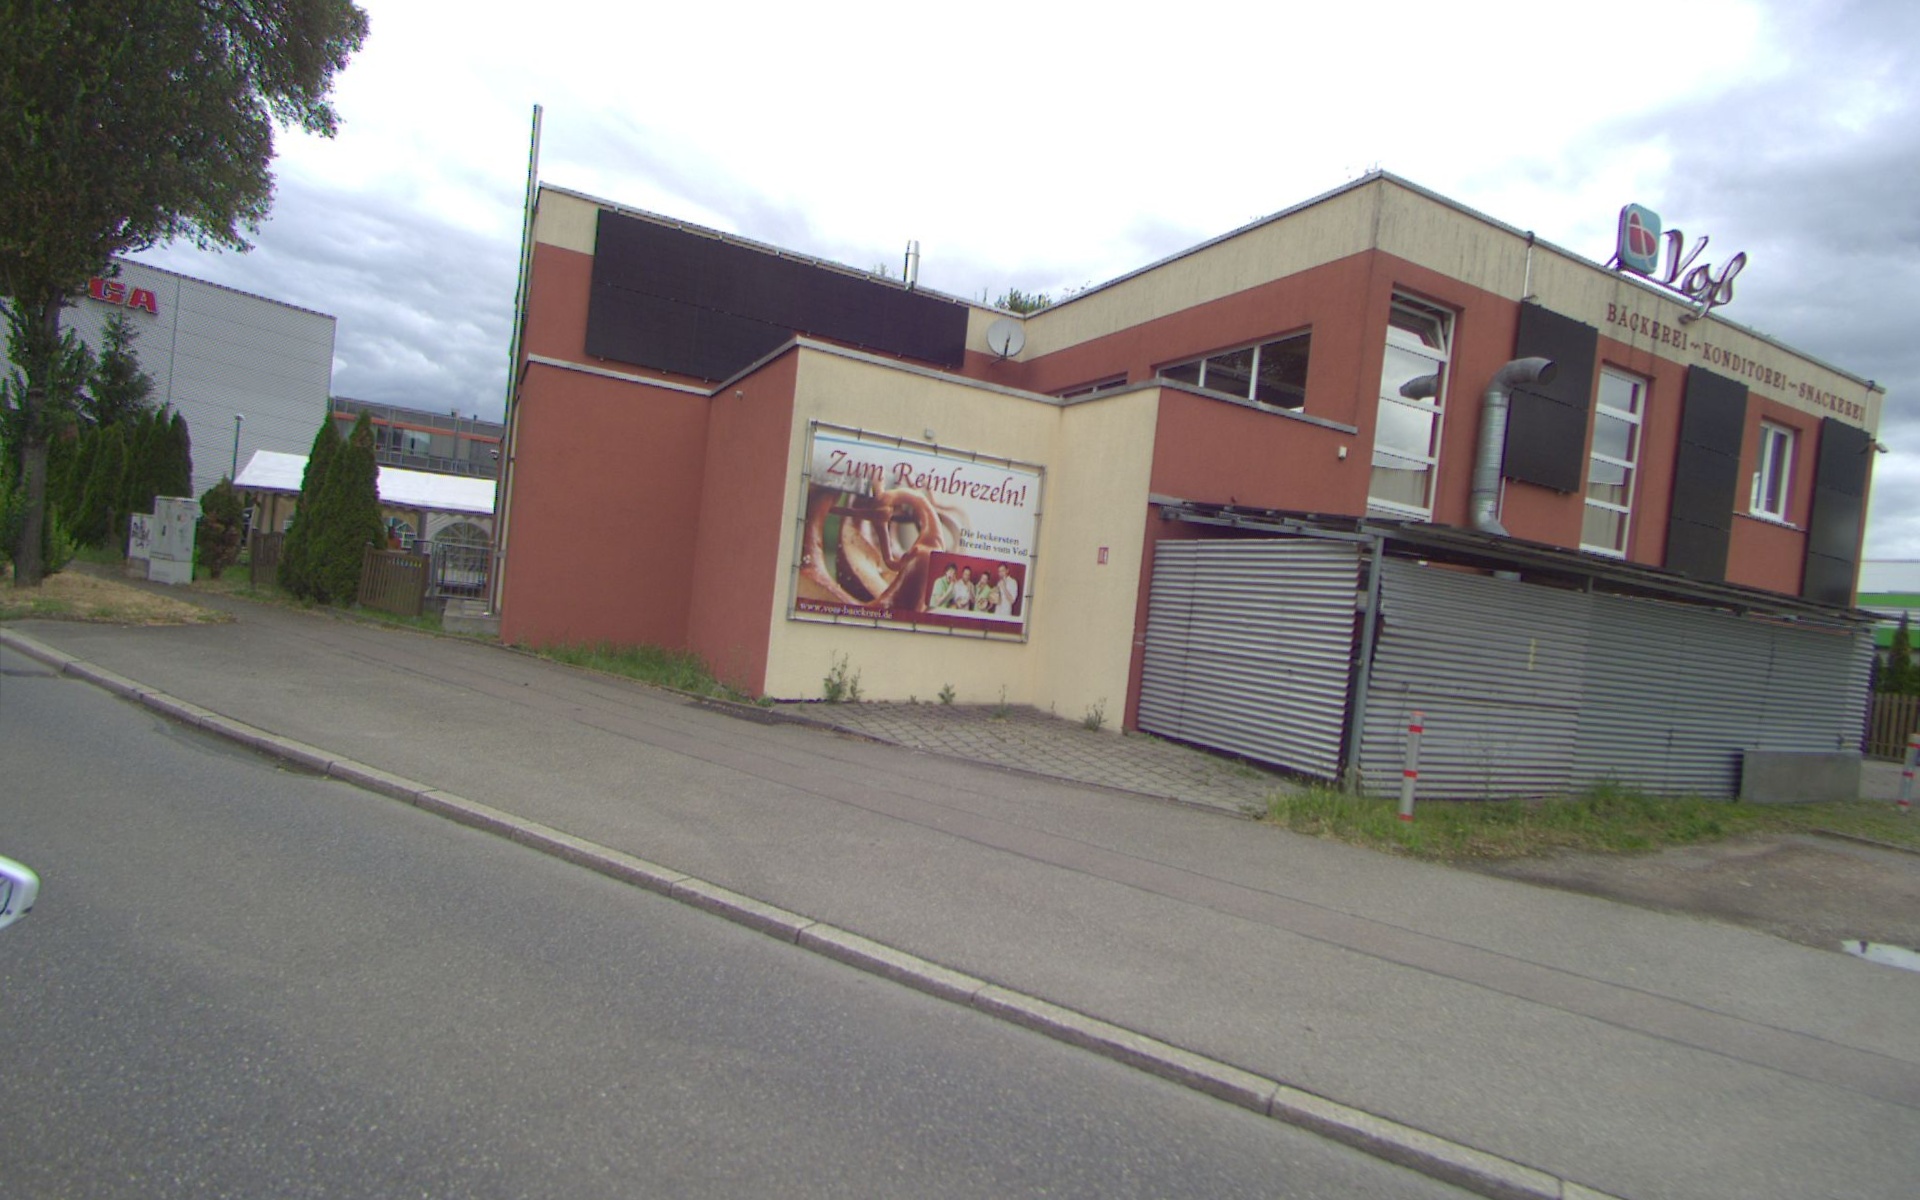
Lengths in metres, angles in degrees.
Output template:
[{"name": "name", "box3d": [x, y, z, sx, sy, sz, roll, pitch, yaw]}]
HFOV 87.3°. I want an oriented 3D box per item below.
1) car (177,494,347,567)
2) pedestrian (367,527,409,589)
[{"name": "car", "box3d": [-22.649, -2.229, 32.821, 4.334, 1.727, 1.981, 7, 0, -35]}, {"name": "pedestrian", "box3d": [-14.898, -1.090, 26.221, 0.695, 1.509, 0.767, 6, 1, -19]}]
